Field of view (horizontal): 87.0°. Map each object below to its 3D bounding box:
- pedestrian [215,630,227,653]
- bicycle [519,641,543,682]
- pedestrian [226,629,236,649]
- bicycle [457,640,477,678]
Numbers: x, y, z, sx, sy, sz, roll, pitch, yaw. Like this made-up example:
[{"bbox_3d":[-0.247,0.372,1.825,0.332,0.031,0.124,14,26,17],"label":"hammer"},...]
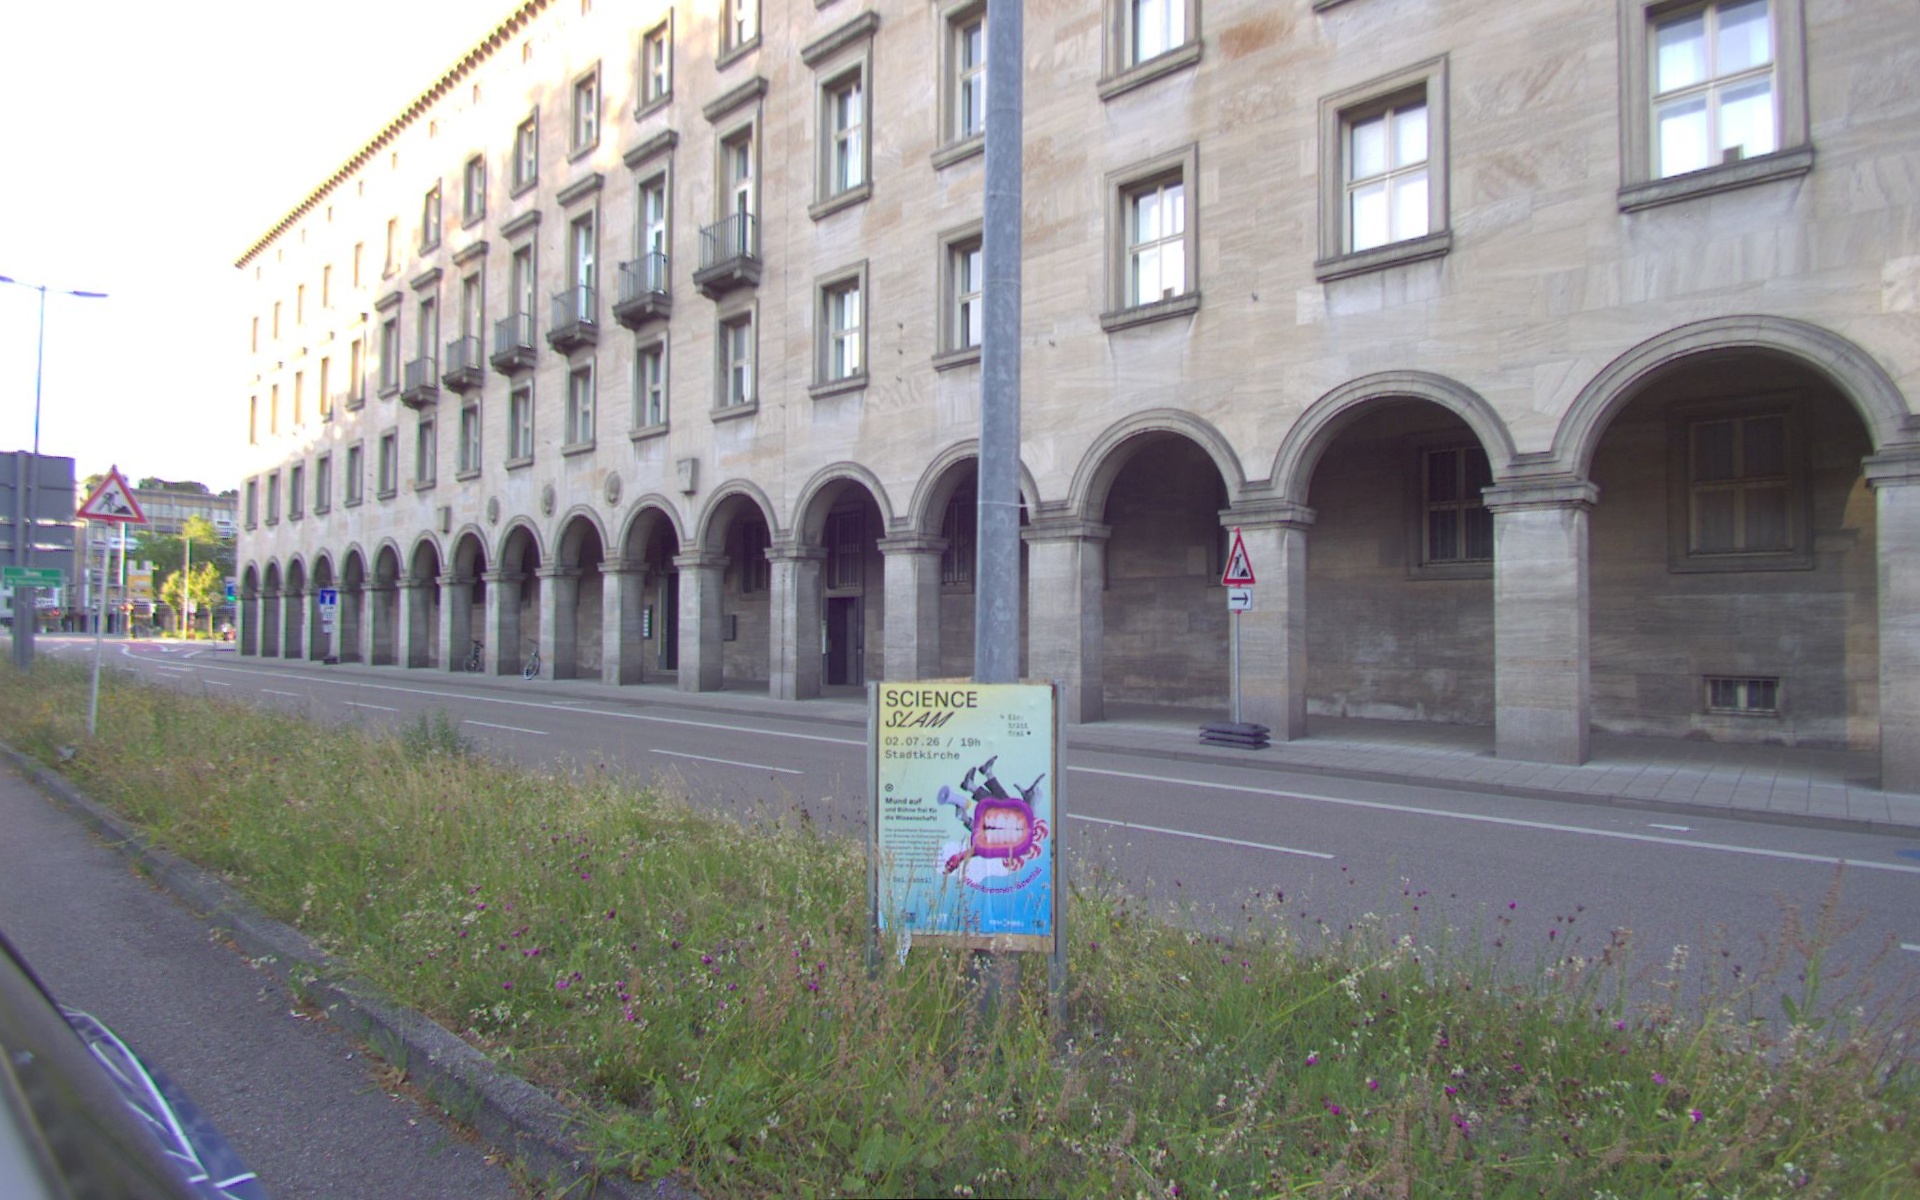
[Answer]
[{"bbox_3d":[-57.556,3.247,78.782,0.506,1.771,0.630,-2,-3,41],"label":"pedestrian"},{"bbox_3d":[-12.901,1.834,30.460,0.505,1.130,2.431,1,-1,-20],"label":"bicycle"},{"bbox_3d":[-57.126,3.035,79.344,0.389,1.553,0.519,-2,-3,41],"label":"pedestrian"},{"bbox_3d":[-16.160,1.909,33.195,0.505,1.188,2.431,1,-2,-25],"label":"bicycle"}]
